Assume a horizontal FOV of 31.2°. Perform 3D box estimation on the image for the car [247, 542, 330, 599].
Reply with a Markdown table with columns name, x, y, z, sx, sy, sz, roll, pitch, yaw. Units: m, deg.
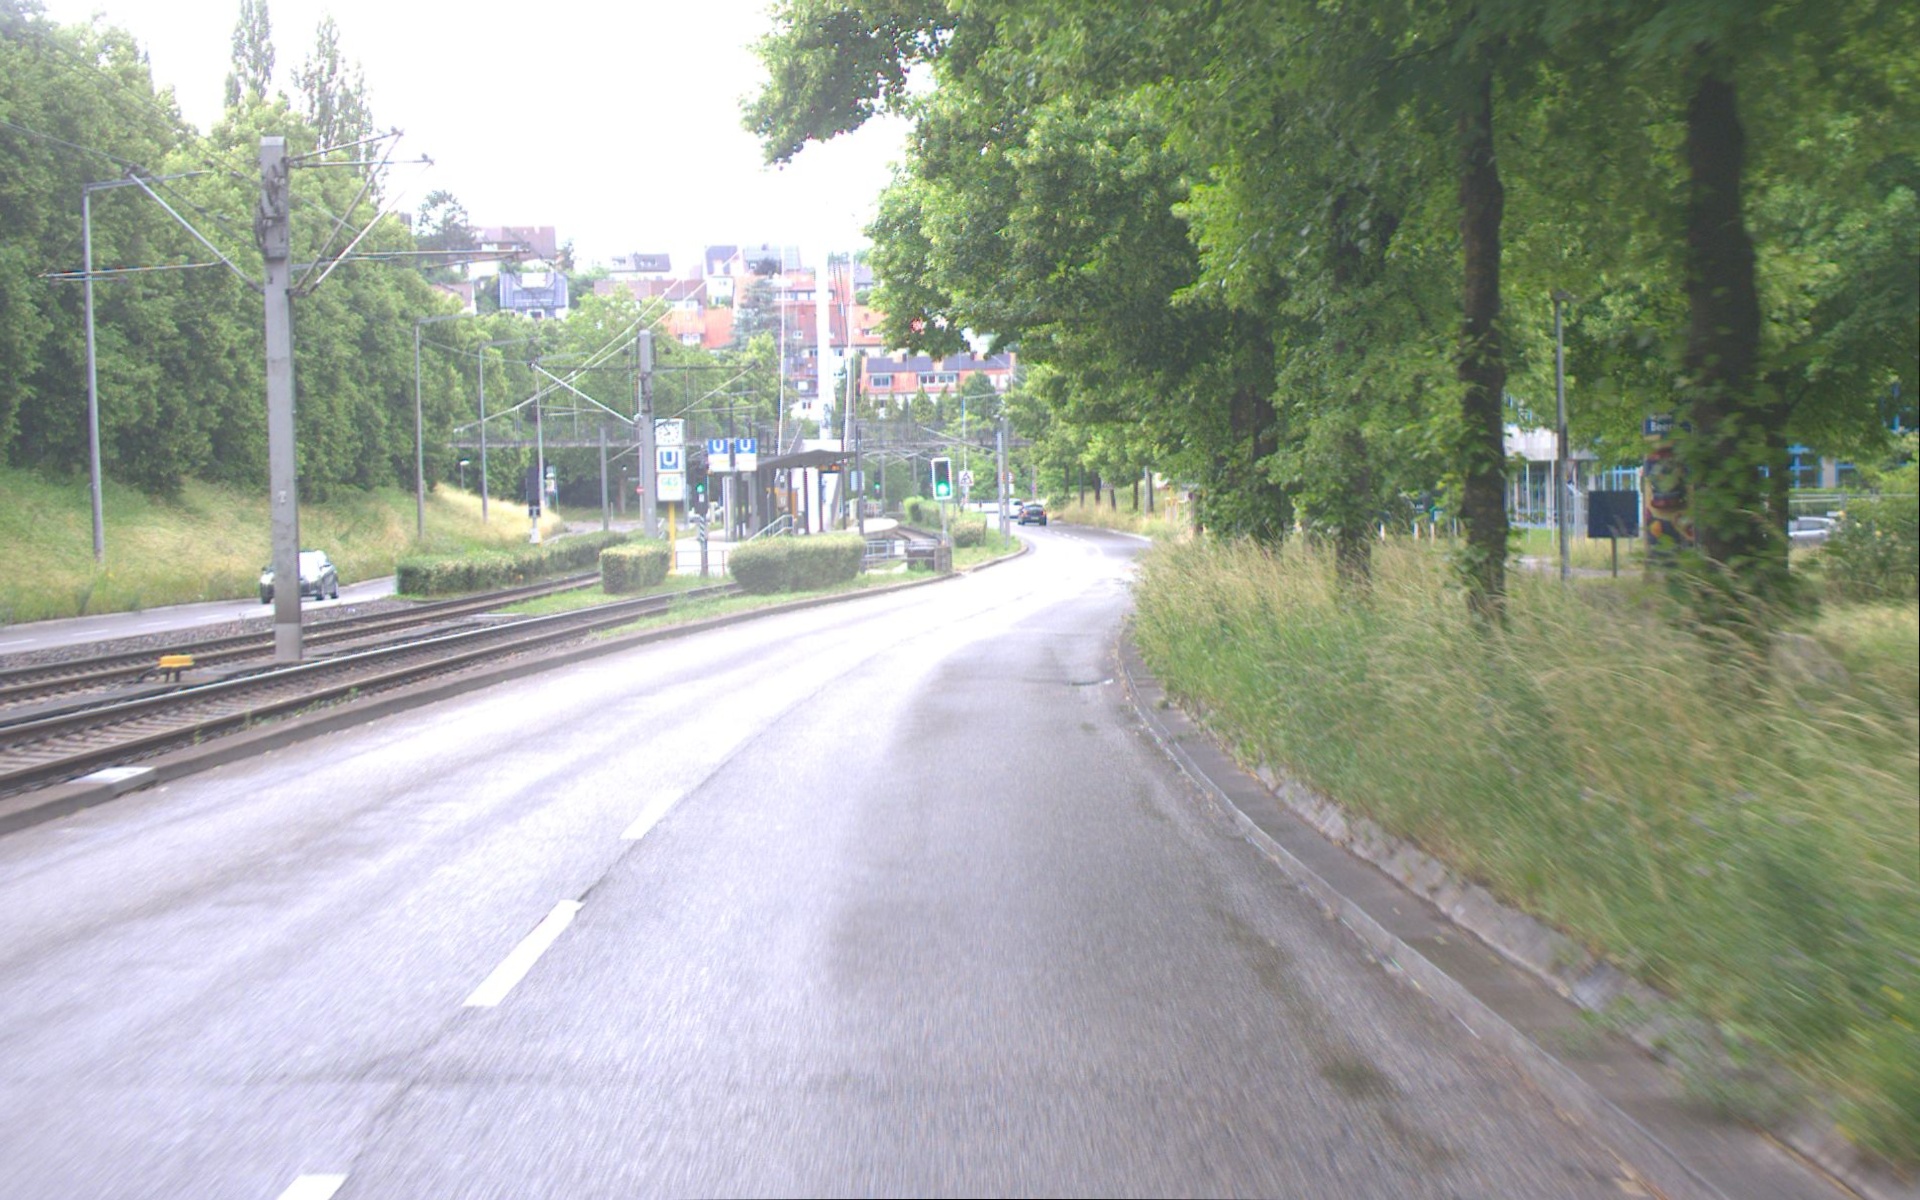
| name | x | y | z | sx | sy | sz | roll | pitch | yaw |
| --- | --- | --- | --- | --- | --- | --- | --- | --- | --- |
| car | -19.627 | -0.883 | 100.643 | 1.784 | 1.546 | 3.962 | -3 | 1 | -3 |
